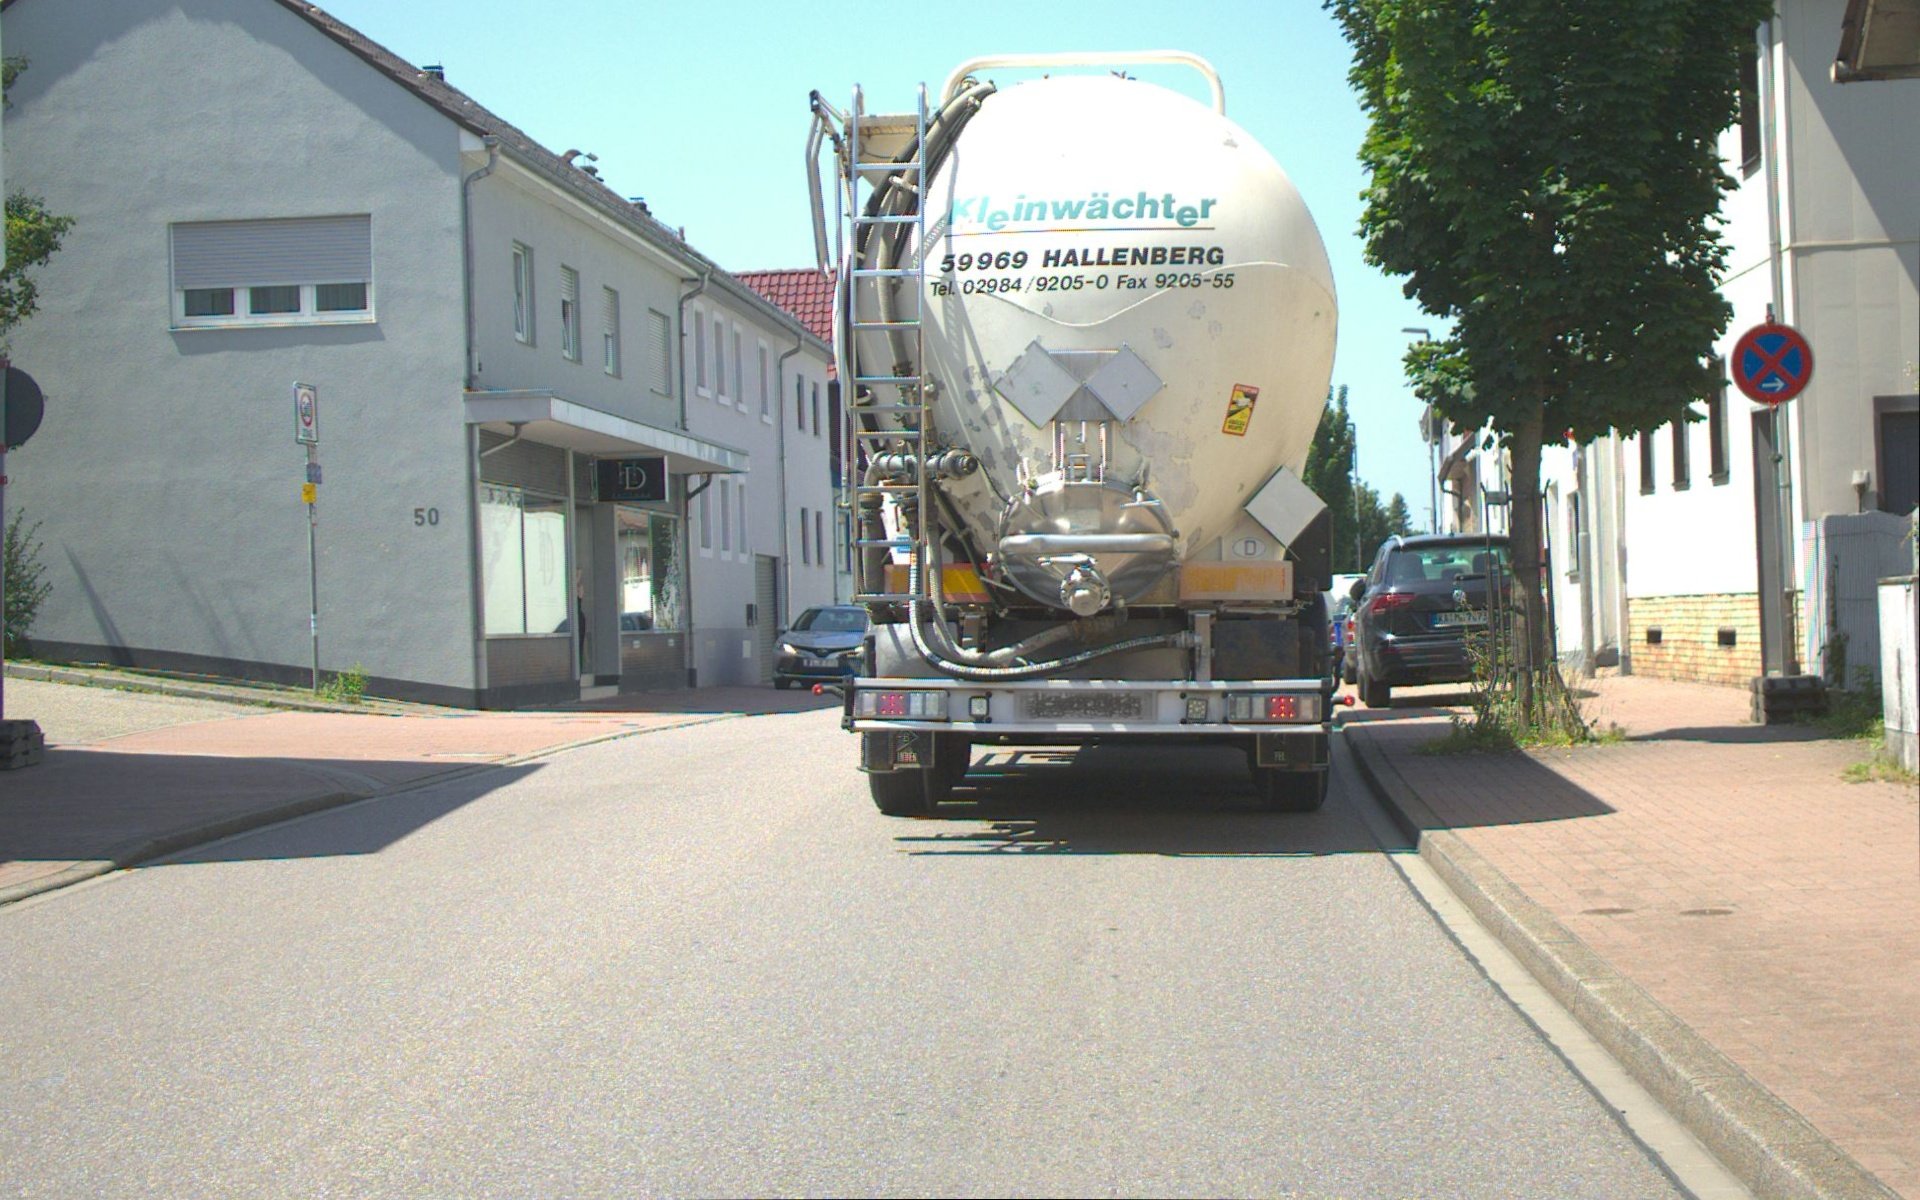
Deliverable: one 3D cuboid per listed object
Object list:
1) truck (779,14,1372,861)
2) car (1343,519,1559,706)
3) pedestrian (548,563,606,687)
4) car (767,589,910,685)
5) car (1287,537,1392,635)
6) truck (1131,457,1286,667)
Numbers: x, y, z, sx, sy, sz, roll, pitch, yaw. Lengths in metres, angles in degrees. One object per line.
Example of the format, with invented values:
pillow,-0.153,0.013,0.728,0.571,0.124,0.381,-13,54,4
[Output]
truck,0.800,-0.788,20.184,2.733,3.946,8.140,1,0,4
car,4.781,0.101,33.977,1.802,1.608,4.547,-4,0,6
pedestrian,-5.255,0.341,47.210,0.624,1.679,0.771,-1,-1,5
car,-2.024,0.623,58.514,1.808,1.552,4.563,1,0,6
car,8.104,-0.281,73.780,1.946,1.964,4.784,-2,0,4
truck,5.138,-0.845,71.902,2.963,4.055,9.282,-1,1,3
